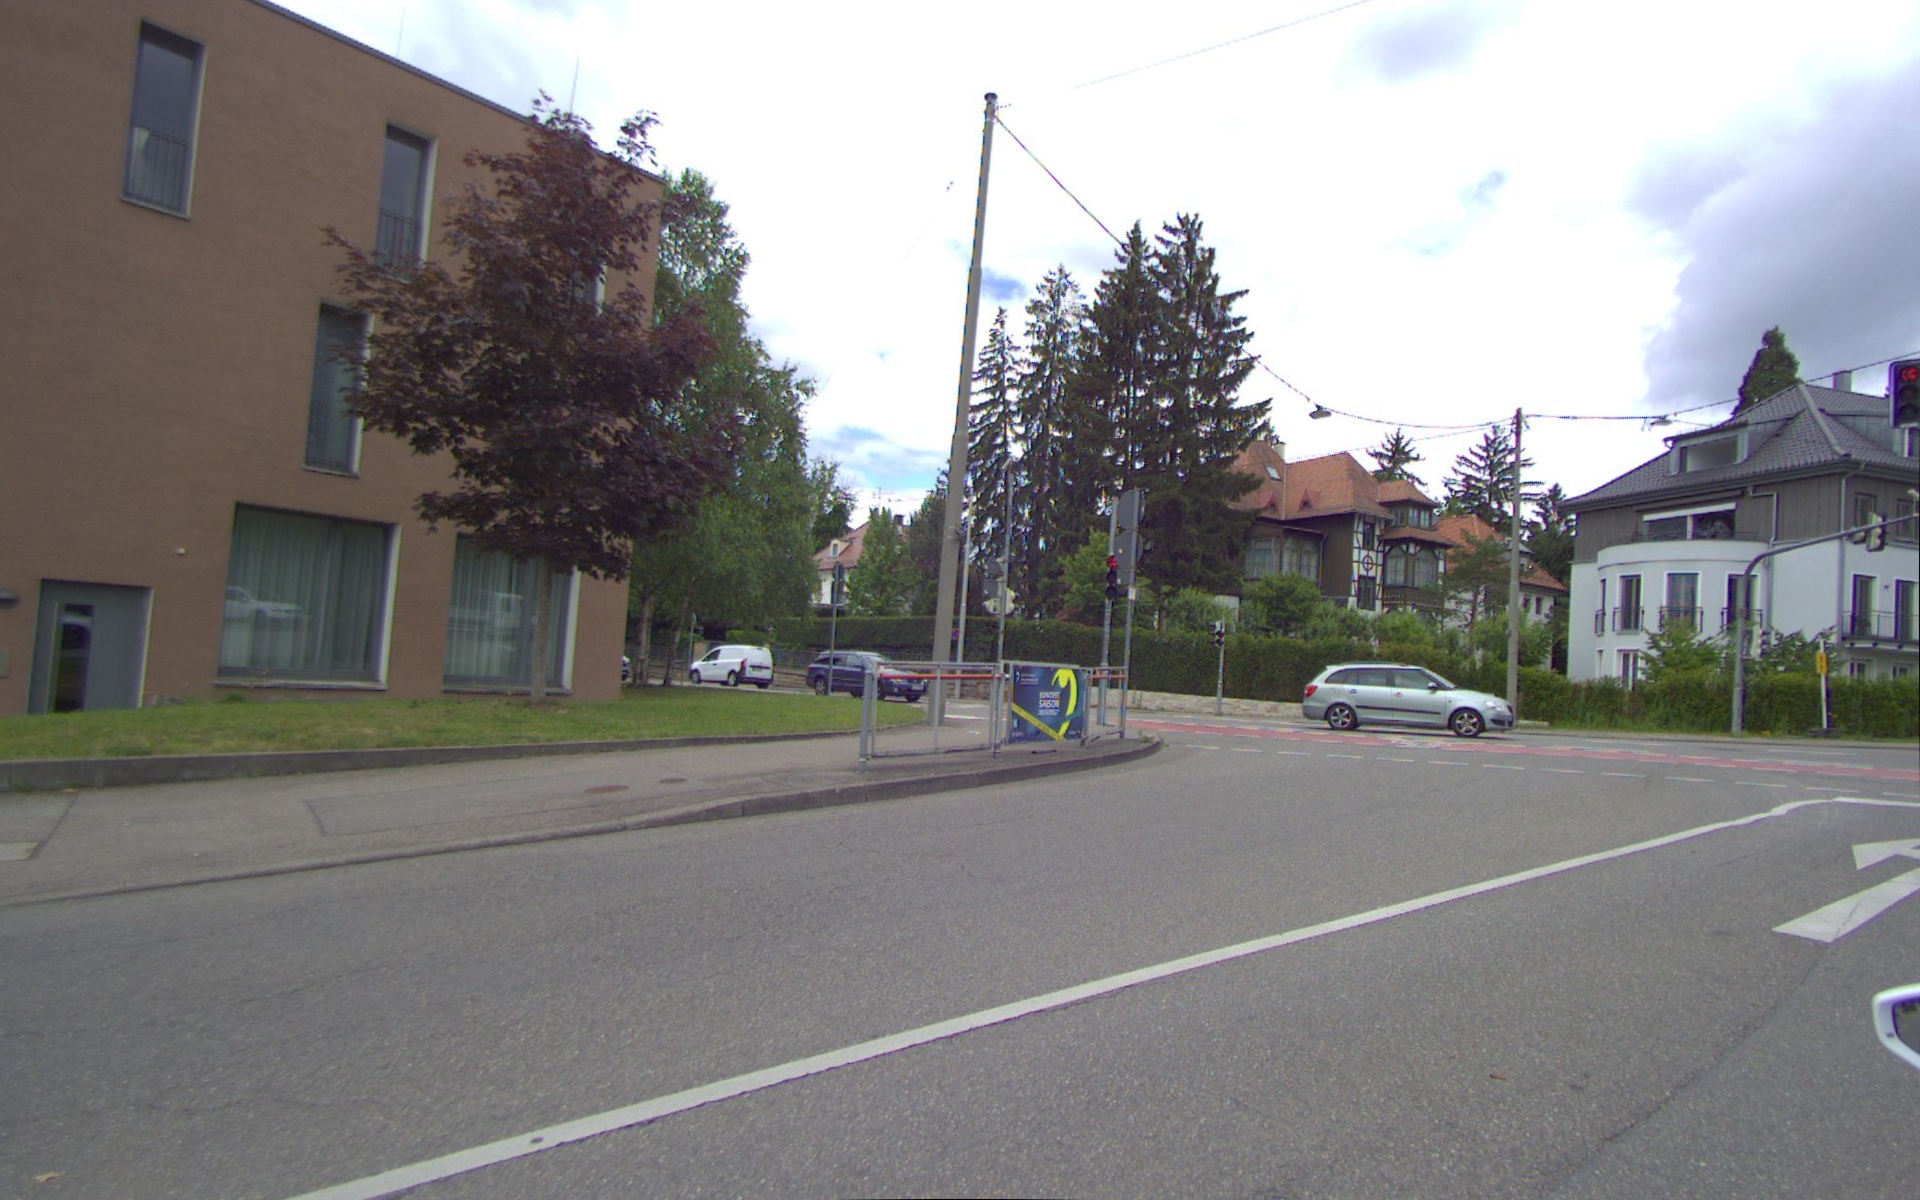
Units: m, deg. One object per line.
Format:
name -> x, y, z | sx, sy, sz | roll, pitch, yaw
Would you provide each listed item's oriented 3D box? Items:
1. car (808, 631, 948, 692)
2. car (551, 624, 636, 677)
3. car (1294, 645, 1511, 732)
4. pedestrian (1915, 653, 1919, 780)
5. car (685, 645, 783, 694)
car -> -2.637, 1.916, 31.670 | 4.343, 1.706, 1.904 | 0, -5, 43
car -> -16.214, 2.176, 44.326 | 1.987, 2.040, 4.108 | 1, 1, -44
car -> 9.529, 1.831, 21.720 | 4.120, 1.496, 1.709 | 2, 1, 30
pedestrian -> 13.084, 1.557, 13.134 | 0.687, 1.704, 0.685 | 0, -1, 28
car -> -9.999, 3.010, 44.299 | 4.286, 1.881, 1.992 | 0, -1, 39
